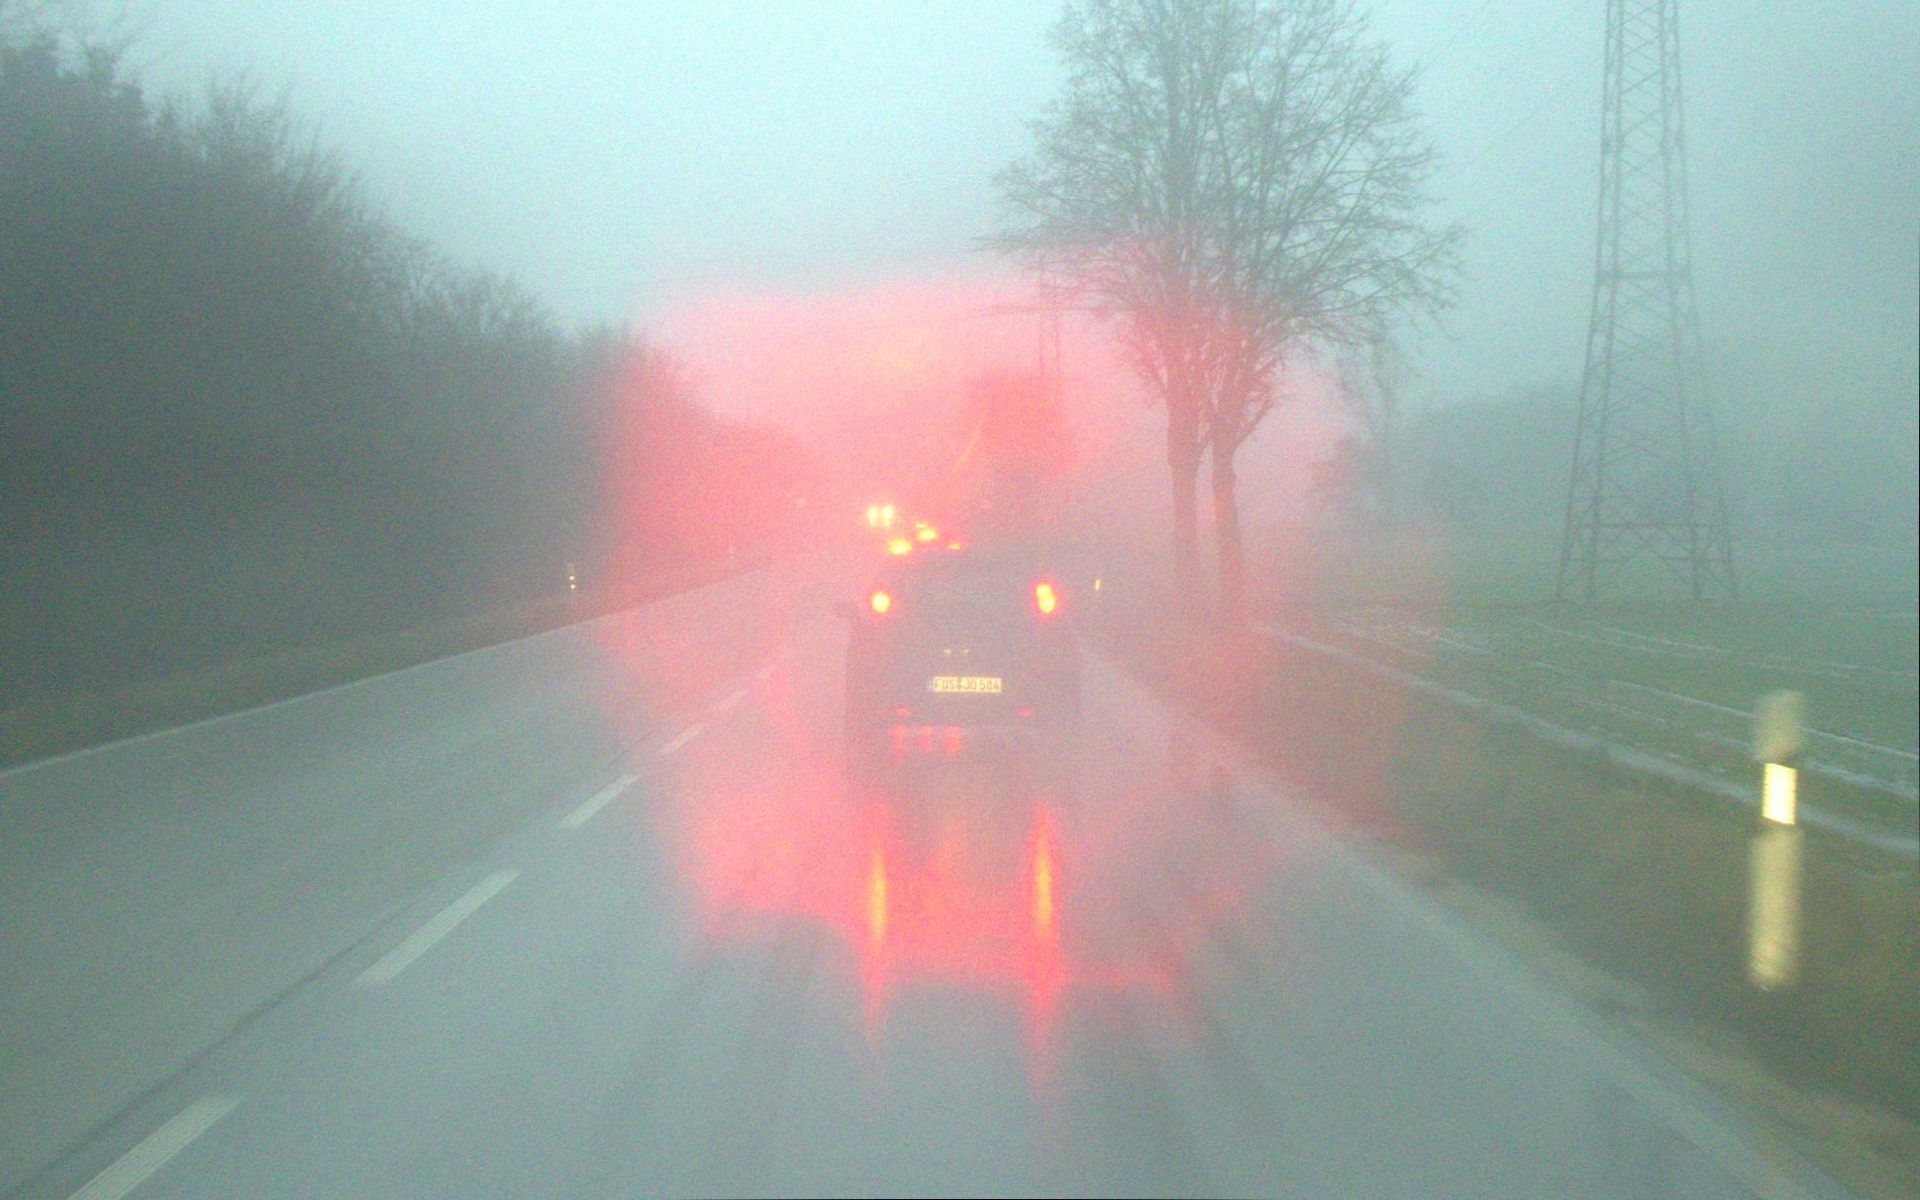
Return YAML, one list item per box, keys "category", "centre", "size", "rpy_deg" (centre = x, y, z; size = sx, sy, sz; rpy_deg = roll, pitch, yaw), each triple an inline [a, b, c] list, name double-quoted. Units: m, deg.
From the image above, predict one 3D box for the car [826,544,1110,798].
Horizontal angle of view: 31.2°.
- category: "car"
  centre: [0.038, 0.465, 26.113]
  size: [1.993, 1.746, 4.000]
  rpy_deg: [0, 1, -1]

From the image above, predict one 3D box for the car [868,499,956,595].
- category: "car"
  centre: [-1.147, -1.308, 83.609]
  size: [1.993, 2.006, 4.001]
  rpy_deg: [3, 4, 0]
